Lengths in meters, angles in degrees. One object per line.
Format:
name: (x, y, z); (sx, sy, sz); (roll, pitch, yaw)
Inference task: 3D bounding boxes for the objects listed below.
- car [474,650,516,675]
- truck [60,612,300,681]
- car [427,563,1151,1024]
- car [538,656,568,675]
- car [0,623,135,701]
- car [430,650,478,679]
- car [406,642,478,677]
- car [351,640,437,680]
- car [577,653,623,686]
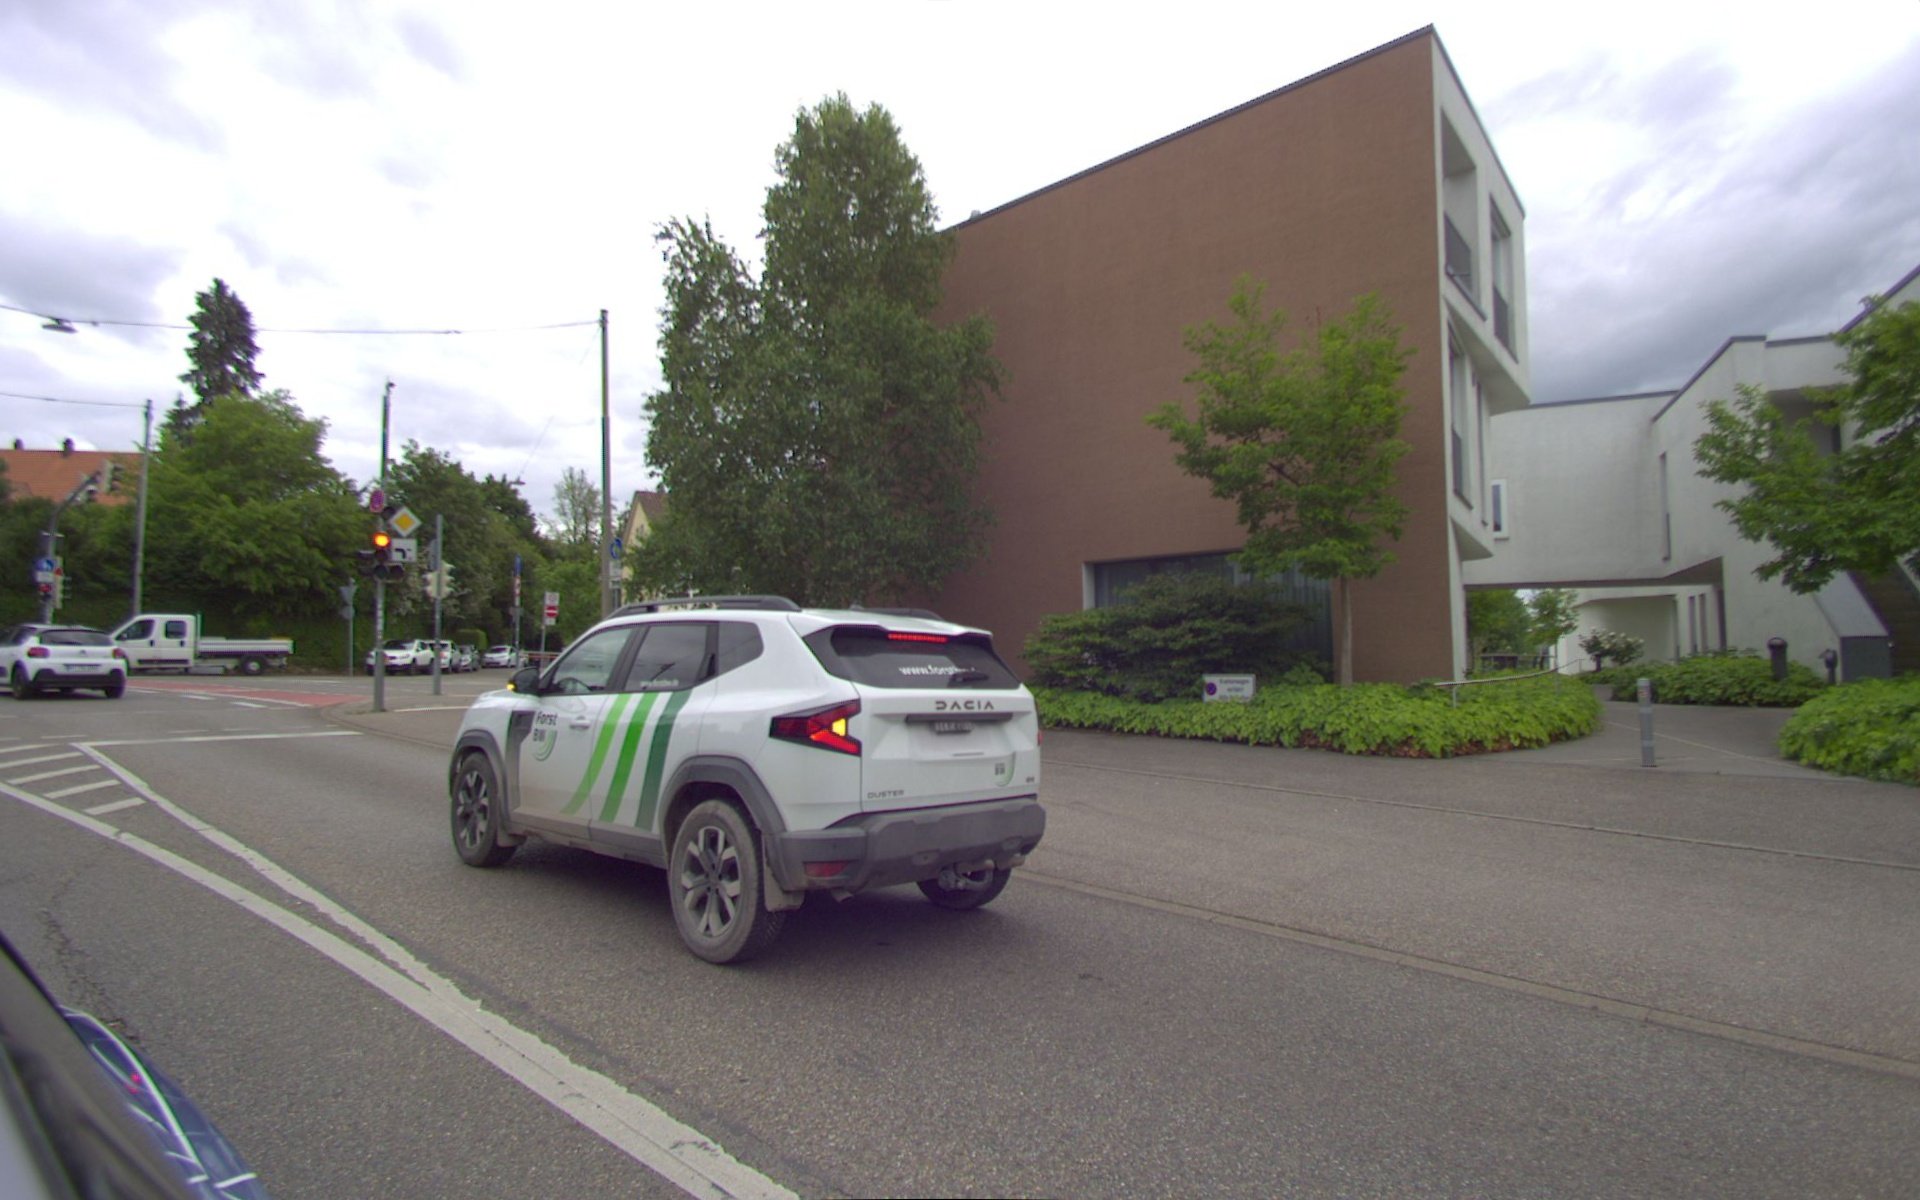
car: (-31.955, 4.289, 69.695); (1.841, 1.599, 3.740); (2, -3, -13)
truck: (-28.112, 1.745, 36.822); (6.608, 2.205, 2.535); (4, -4, -37)
car: (-1.248, 0.803, 5.776); (4.301, 1.650, 1.749); (-2, -6, 43)
car: (-35.522, 5.713, 88.434); (1.841, 1.599, 3.740); (2, -3, -13)
car: (-18.801, 1.249, 20.825); (3.746, 1.451, 1.682); (0, -5, 33)
car: (-27.635, 3.501, 55.332); (1.840, 1.464, 3.742); (1, -3, -19)
car: (-25.432, 2.922, 49.811); (1.968, 1.625, 4.007); (2, -4, -9)
car: (-24.669, 2.614, 44.247); (1.968, 1.625, 4.007); (2, -4, -9)
car: (-17.451, 3.343, 48.999); (1.848, 1.460, 4.013); (3, -4, -22)
